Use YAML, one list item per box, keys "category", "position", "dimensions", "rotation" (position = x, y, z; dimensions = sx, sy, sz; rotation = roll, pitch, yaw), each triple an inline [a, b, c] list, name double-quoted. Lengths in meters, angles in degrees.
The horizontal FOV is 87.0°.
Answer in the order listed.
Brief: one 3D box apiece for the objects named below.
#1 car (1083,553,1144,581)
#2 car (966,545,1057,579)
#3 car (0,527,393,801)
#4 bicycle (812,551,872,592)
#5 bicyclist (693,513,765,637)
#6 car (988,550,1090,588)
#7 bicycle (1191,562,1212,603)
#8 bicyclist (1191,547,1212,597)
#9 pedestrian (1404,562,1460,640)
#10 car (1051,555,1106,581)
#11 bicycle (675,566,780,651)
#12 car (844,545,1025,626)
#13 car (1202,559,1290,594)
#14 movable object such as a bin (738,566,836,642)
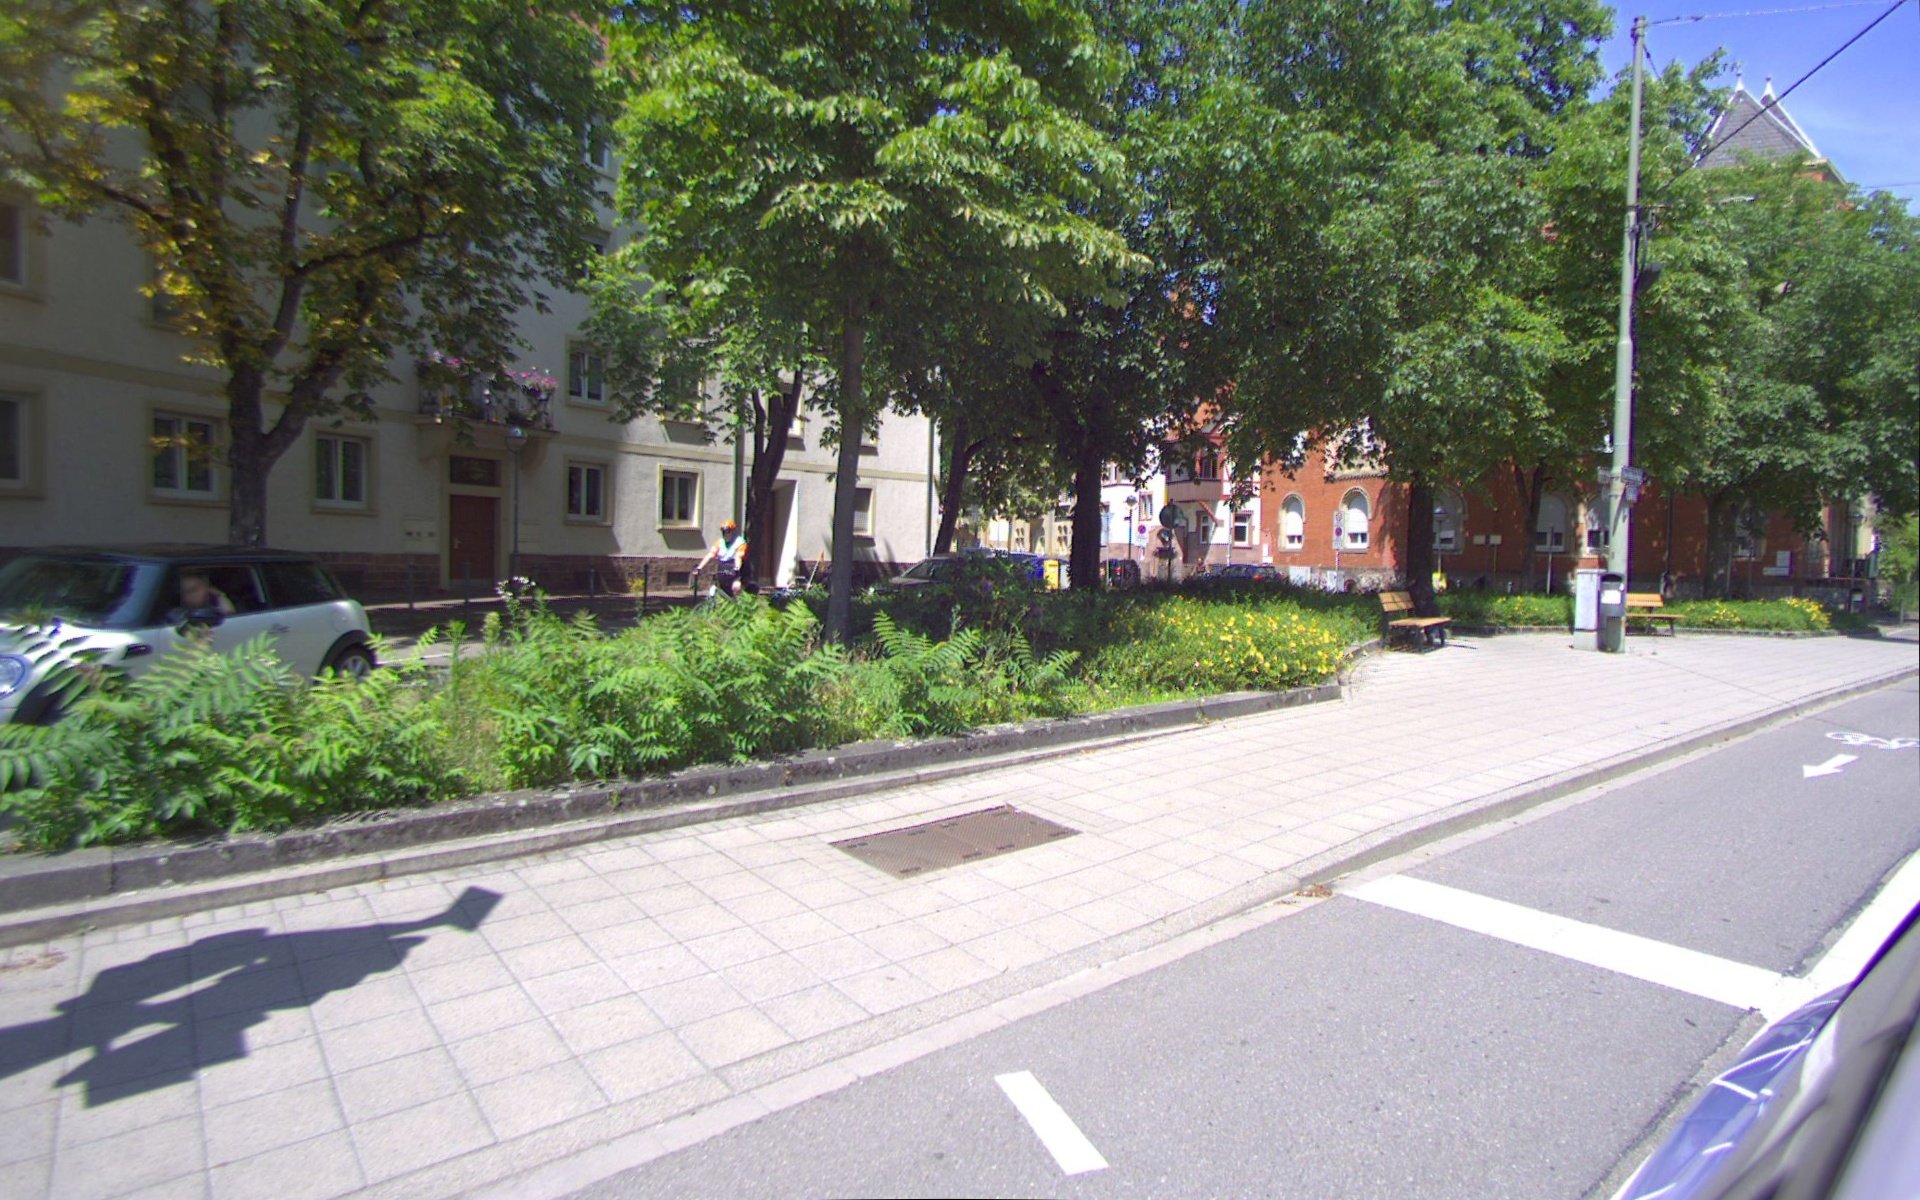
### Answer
- category: "car"
  position: [8.997, -1.965, 59.545]
  dimensions: [1.668, 1.582, 4.256]
  rotation: [0, 3, -20]
- category: "car"
  position: [2.575, -1.920, 50.716]
  dimensions: [4.228, 1.582, 1.649]
  rotation: [1, 2, -19]
- category: "car"
  position: [-5.863, 0.254, 7.045]
  dimensions: [1.665, 1.463, 3.625]
  rotation: [1, 2, 3]
- category: "bicycle"
  position: [-3.482, -0.853, 30.036]
  dimensions: [0.513, 1.169, 1.904]
  rotation: [3, 3, 42]
- category: "bicyclist"
  position: [-3.442, -0.383, 15.109]
  dimensions: [0.690, 1.788, 0.859]
  rotation: [2, 2, 19]
- category: "car"
  position: [3.556, -1.403, 45.605]
  dimensions: [4.228, 1.582, 1.649]
  rotation: [0, 2, -19]
- category: "bicycle"
  position: [8.215, -0.618, 34.461]
  dimensions: [0.631, 1.309, 1.924]
  rotation: [2, 2, 13]
- category: "bicyclist"
  position: [8.224, -0.955, 34.461]
  dimensions: [0.631, 1.643, 0.860]
  rotation: [2, 2, 13]
- category: "pedestrian"
  position: [7.310, 0.001, 15.664]
  dimensions: [0.648, 1.164, 0.635]
  rotation: [3, 2, 35]
- category: "car"
  position: [7.497, -2.054, 64.457]
  dimensions: [1.668, 1.582, 4.256]
  rotation: [0, 3, -20]
- category: "bicycle"
  position: [-3.444, 0.091, 15.136]
  dimensions: [0.672, 1.169, 1.794]
  rotation: [2, 2, 19]
- category: "car"
  position: [-0.469, -0.355, 22.044]
  dimensions: [1.609, 1.582, 4.004]
  rotation: [3, 3, 43]
- category: "car"
  position: [13.100, -1.134, 46.628]
  dimensions: [1.610, 1.470, 4.330]
  rotation: [0, 3, -20]
- category: "movable object such as a bin"
  position: [-2.836, 0.029, 16.807]
  dimensions: [0.857, 1.169, 1.754]
  rotation: [2, 2, 19]
